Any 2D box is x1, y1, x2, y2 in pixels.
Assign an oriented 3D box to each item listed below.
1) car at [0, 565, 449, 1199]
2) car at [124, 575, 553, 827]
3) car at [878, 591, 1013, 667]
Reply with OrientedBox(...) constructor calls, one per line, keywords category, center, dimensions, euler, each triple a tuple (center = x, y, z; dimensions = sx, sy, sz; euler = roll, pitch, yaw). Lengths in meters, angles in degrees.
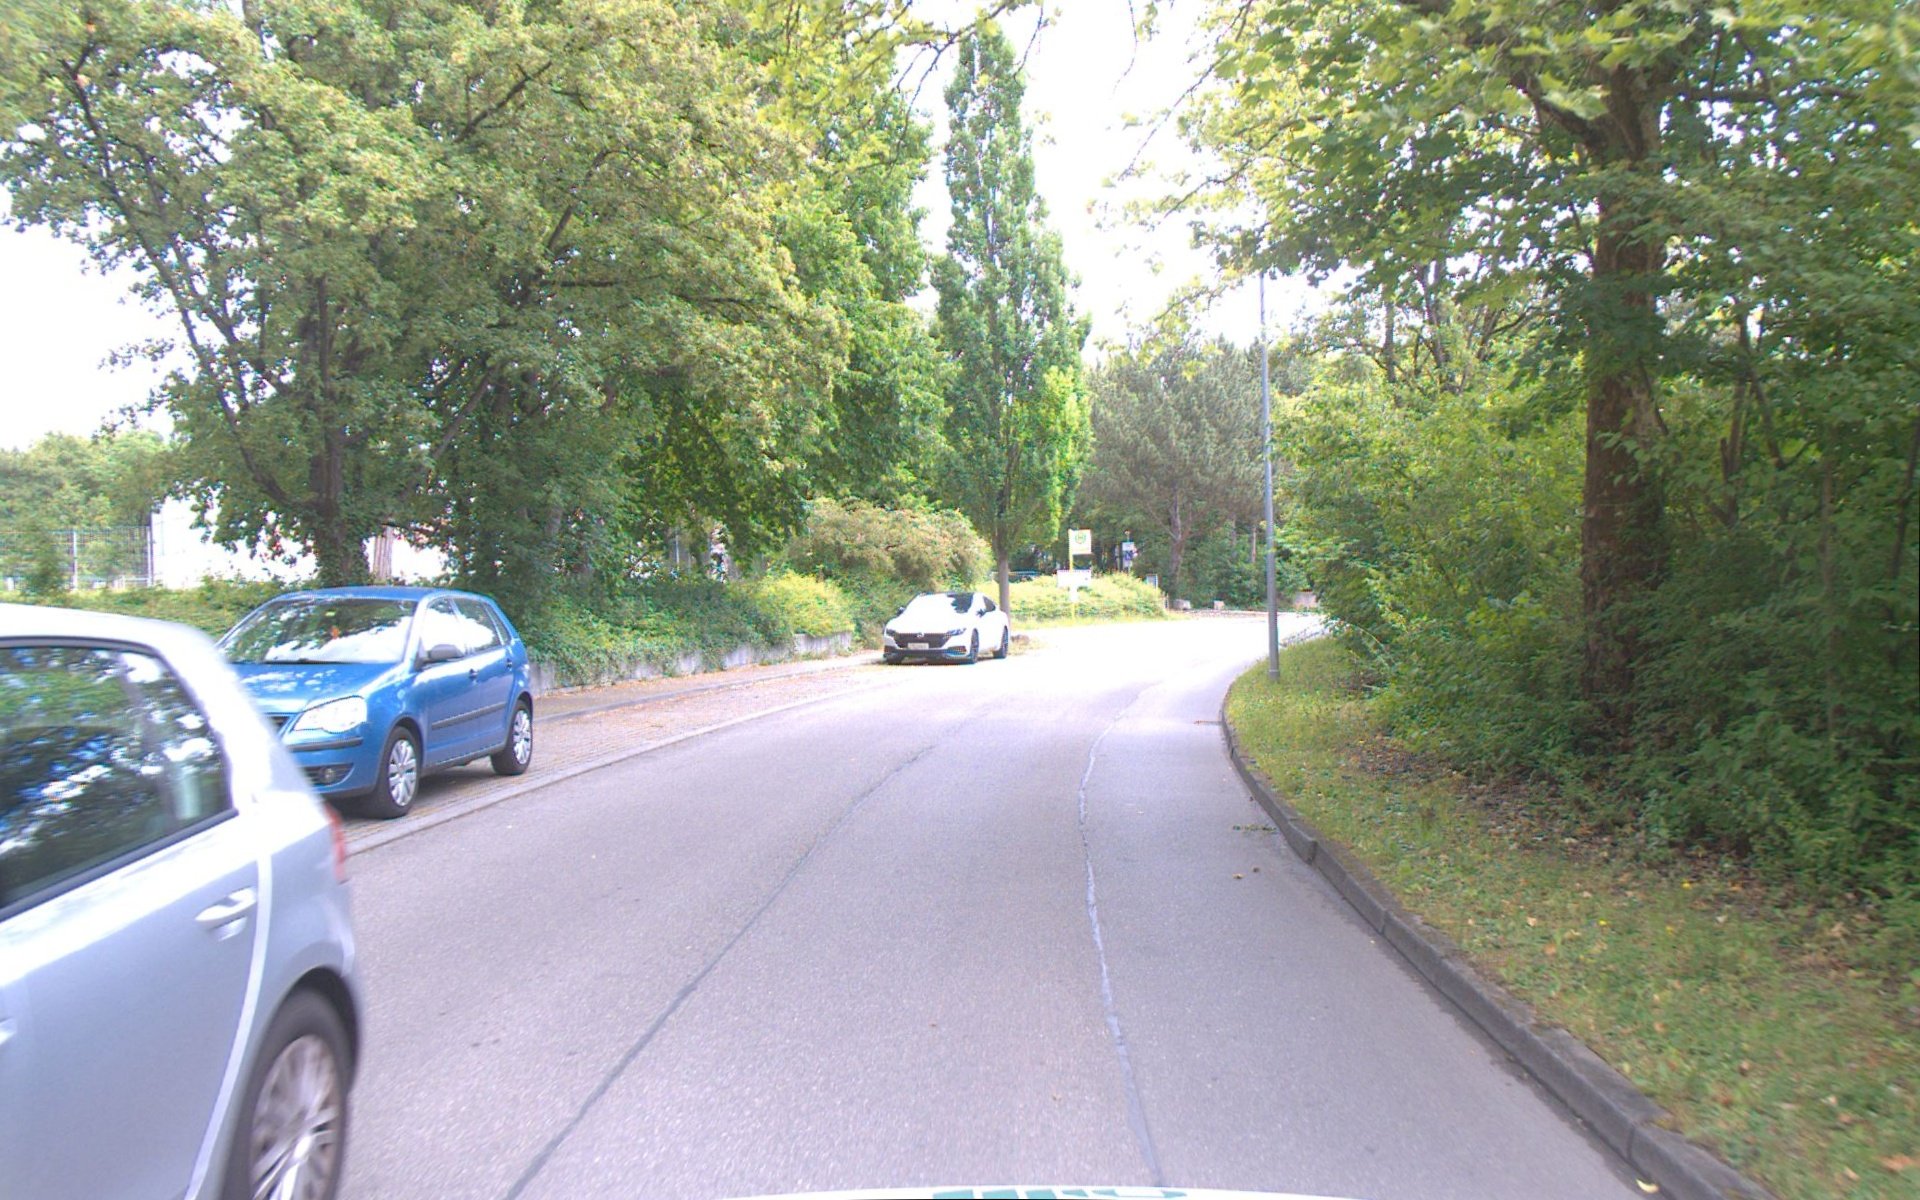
OrientedBox(category="car", center=(-2.209, 0.680, 2.293), dimensions=(1.642, 1.488, 4.062), euler=(1, 0, 1))
OrientedBox(category="car", center=(-4.189, 0.603, 11.782), dimensions=(1.501, 1.484, 3.721), euler=(-1, 0, 2))
OrientedBox(category="car", center=(-0.220, 0.559, 34.165), dimensions=(1.775, 1.449, 4.364), euler=(0, 0, 13))
